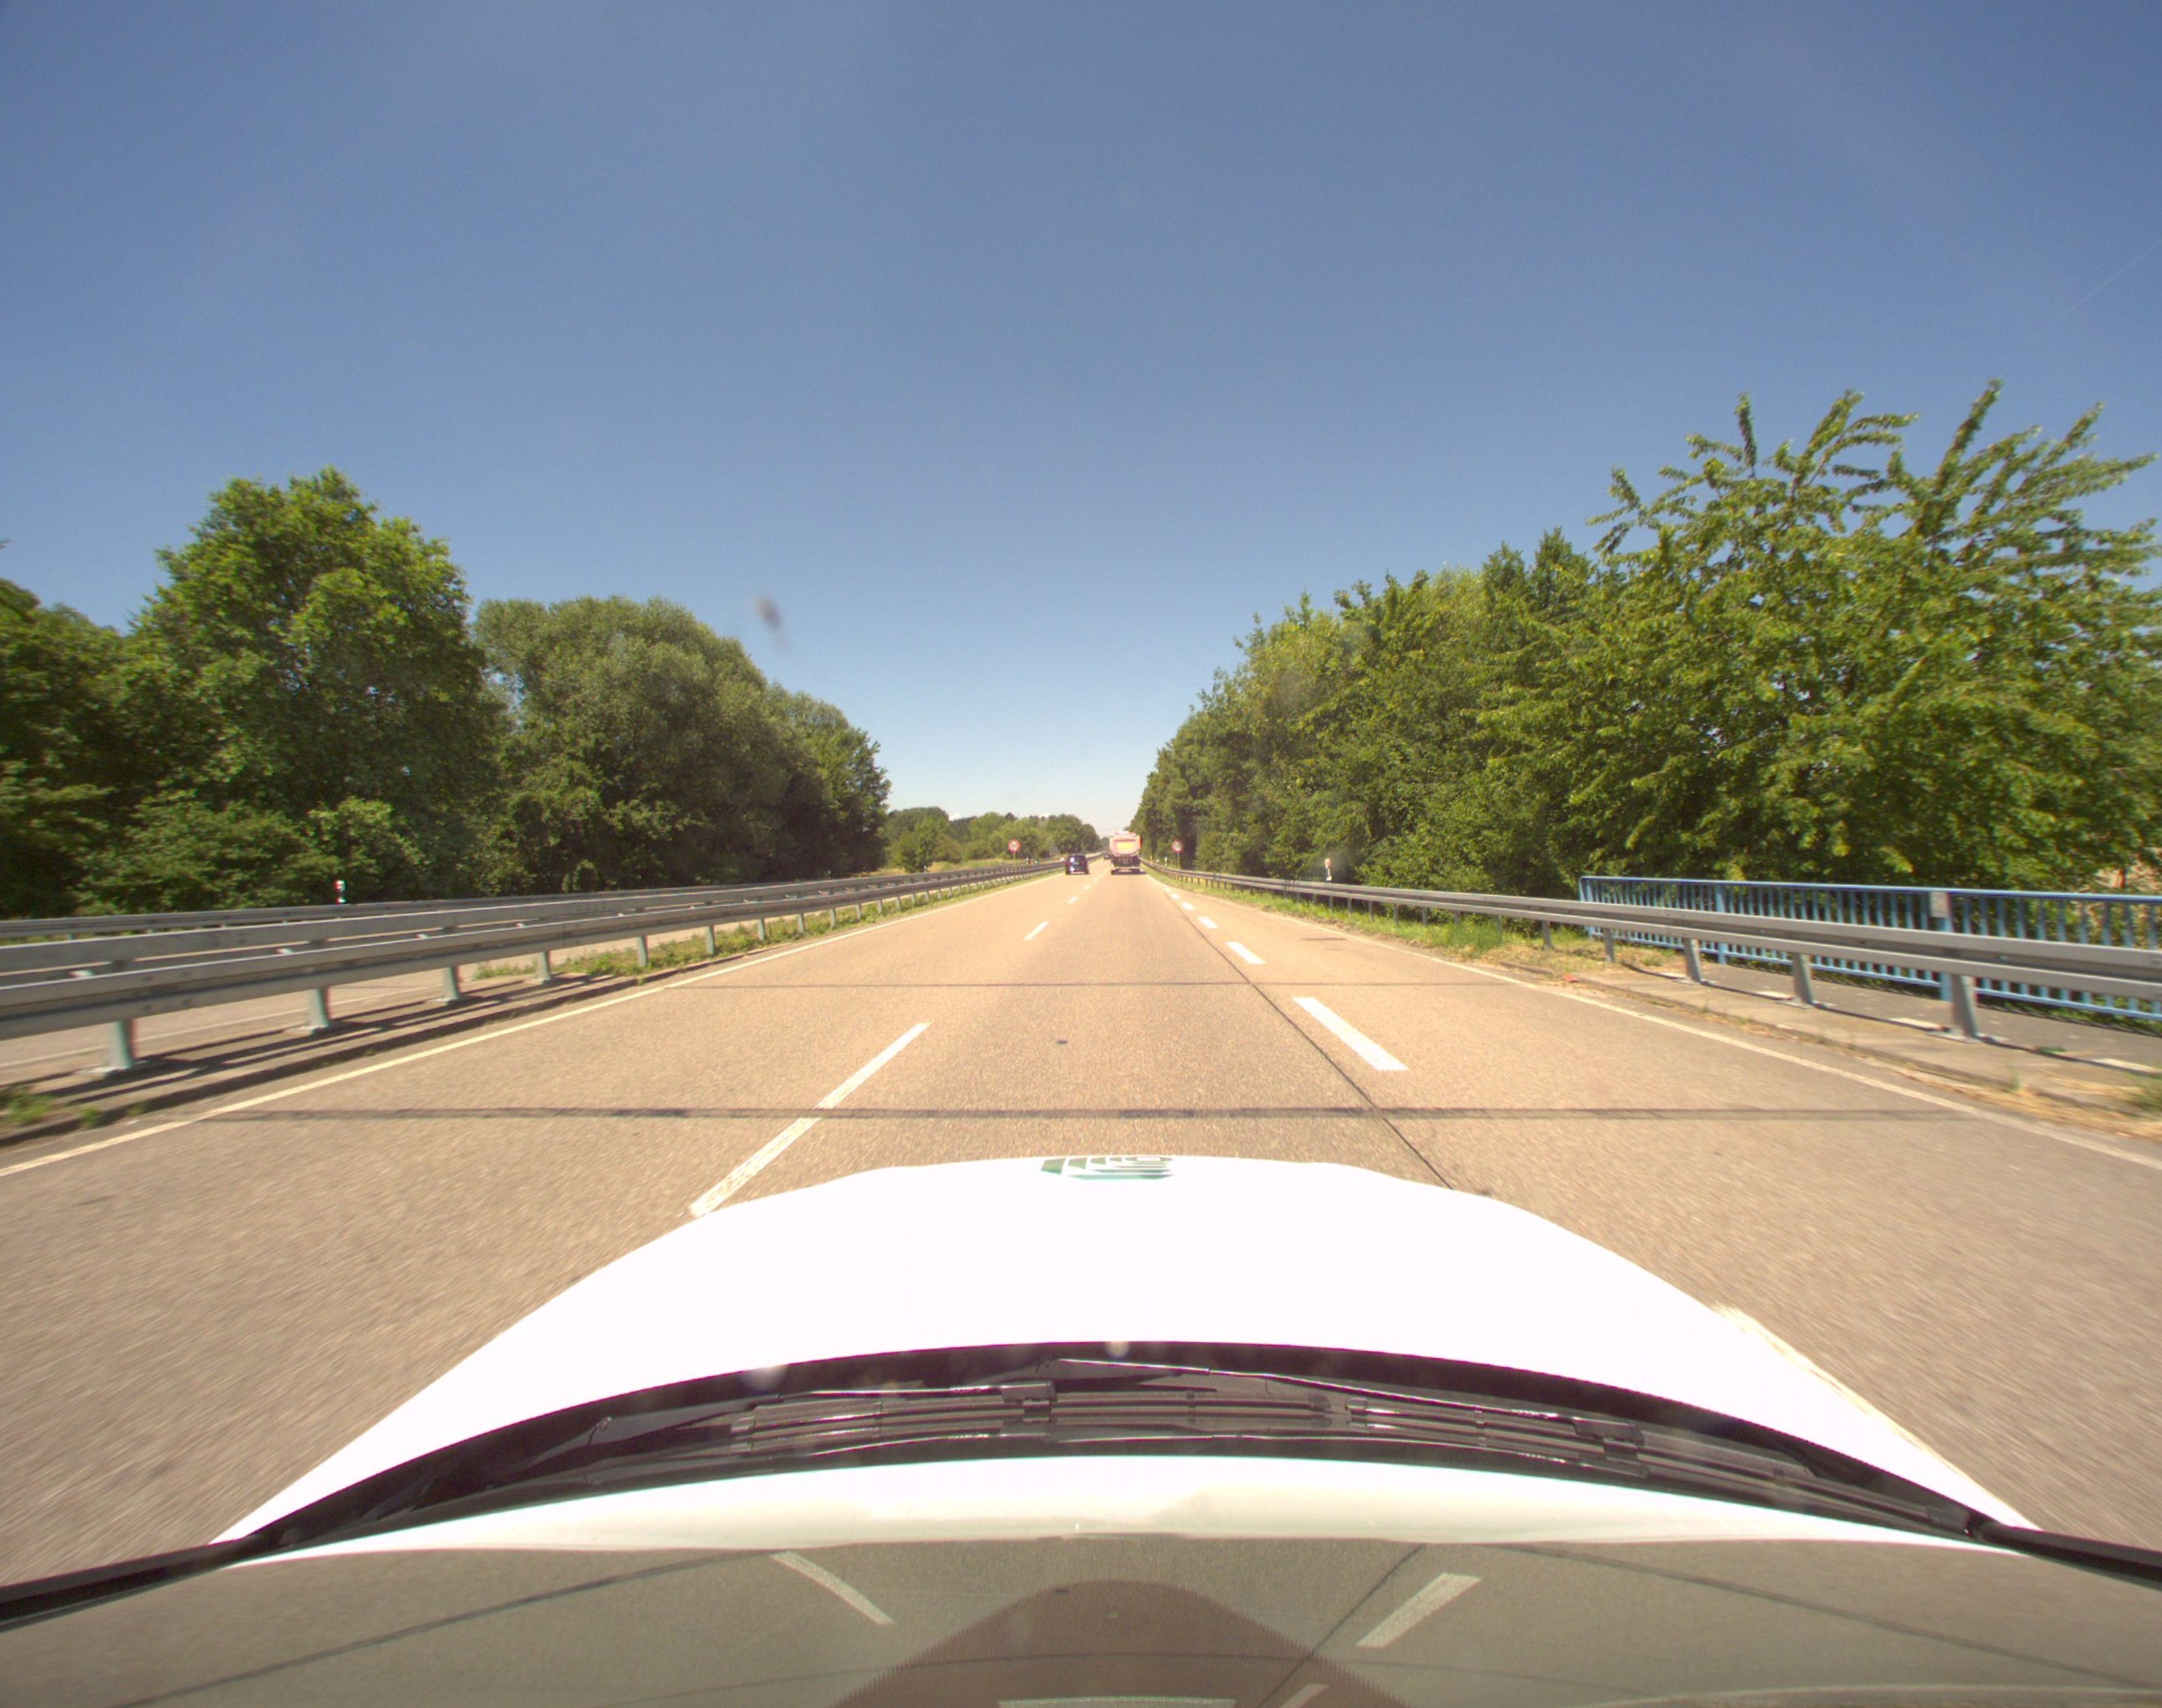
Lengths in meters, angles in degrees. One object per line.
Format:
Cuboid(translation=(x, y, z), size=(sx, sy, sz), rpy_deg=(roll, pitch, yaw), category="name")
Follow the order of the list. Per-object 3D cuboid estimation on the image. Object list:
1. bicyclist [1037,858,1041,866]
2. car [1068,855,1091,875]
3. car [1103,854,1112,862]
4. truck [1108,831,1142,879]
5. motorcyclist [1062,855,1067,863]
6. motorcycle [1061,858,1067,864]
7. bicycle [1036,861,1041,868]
Cuboid(translation=(-7.065, 1.271, 135.701), size=(0.611, 1.277, 0.608), rpy_deg=(-1, -1, 2), category="bicyclist")
Cuboid(translation=(-0.134, 1.014, 71.106), size=(1.850, 1.671, 4.001), rpy_deg=(-1, -1, 2), category="car")
Cuboid(translation=(6.102, 0.967, 186.315), size=(1.850, 1.718, 4.001), rpy_deg=(-1, -1, 2), category="car")
Cuboid(translation=(3.841, 0.046, 72.339), size=(2.709, 3.930, 12.377), rpy_deg=(-1, 0, 2), category="truck")
Cuboid(translation=(-3.647, 1.040, 178.676), size=(0.941, 1.617, 0.810), rpy_deg=(-3, -1, 2), category="motorcyclist")
Cuboid(translation=(-3.657, 1.522, 178.691), size=(1.059, 1.064, 3.821), rpy_deg=(-3, 0, 3), category="motorcycle")
Cuboid(translation=(-7.056, 1.735, 135.687), size=(0.611, 1.157, 2.282), rpy_deg=(-1, 0, 3), category="bicycle")
